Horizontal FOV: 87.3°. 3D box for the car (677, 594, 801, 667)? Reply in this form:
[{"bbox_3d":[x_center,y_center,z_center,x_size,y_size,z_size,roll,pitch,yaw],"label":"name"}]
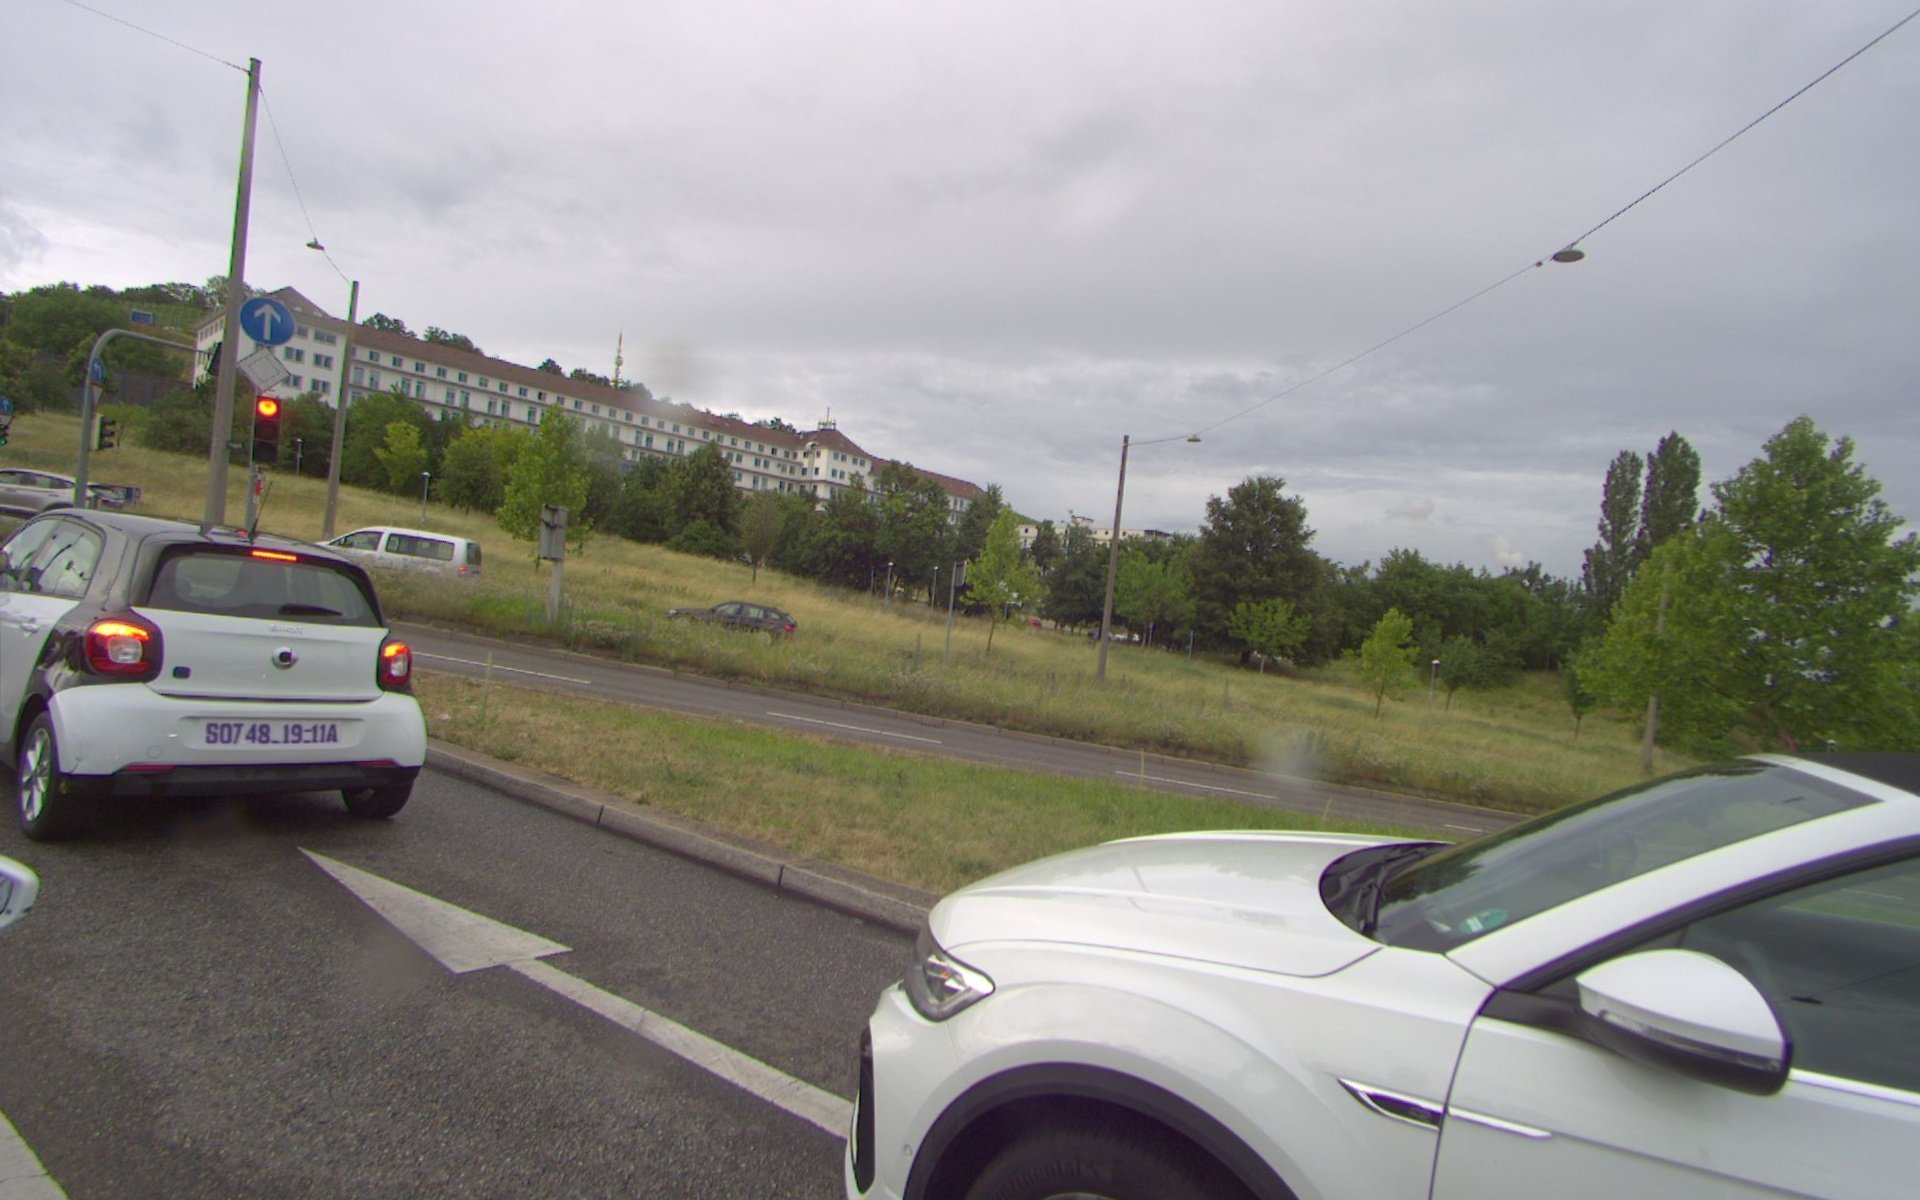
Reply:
[{"bbox_3d":[-7.698,1.070,35.360,3.932,2.037,1.998,7,-2,-9],"label":"car"}]

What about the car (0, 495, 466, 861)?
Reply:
[{"bbox_3d":[-4.666,0.292,5.887,3.397,1.520,1.659,6,-2,36],"label":"car"}]

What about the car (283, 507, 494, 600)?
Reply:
[{"bbox_3d":[-15.835,-1.231,28.130,4.622,1.871,1.819,8,-2,-12],"label":"car"}]

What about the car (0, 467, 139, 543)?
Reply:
[{"bbox_3d":[-26.813,-2.841,28.871,4.462,1.639,1.992,8,-2,-20],"label":"car"}]

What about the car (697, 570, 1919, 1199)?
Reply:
[{"bbox_3d":[1.744,0.989,1.782,4.156,1.571,1.718,6,-2,28],"label":"car"}]
